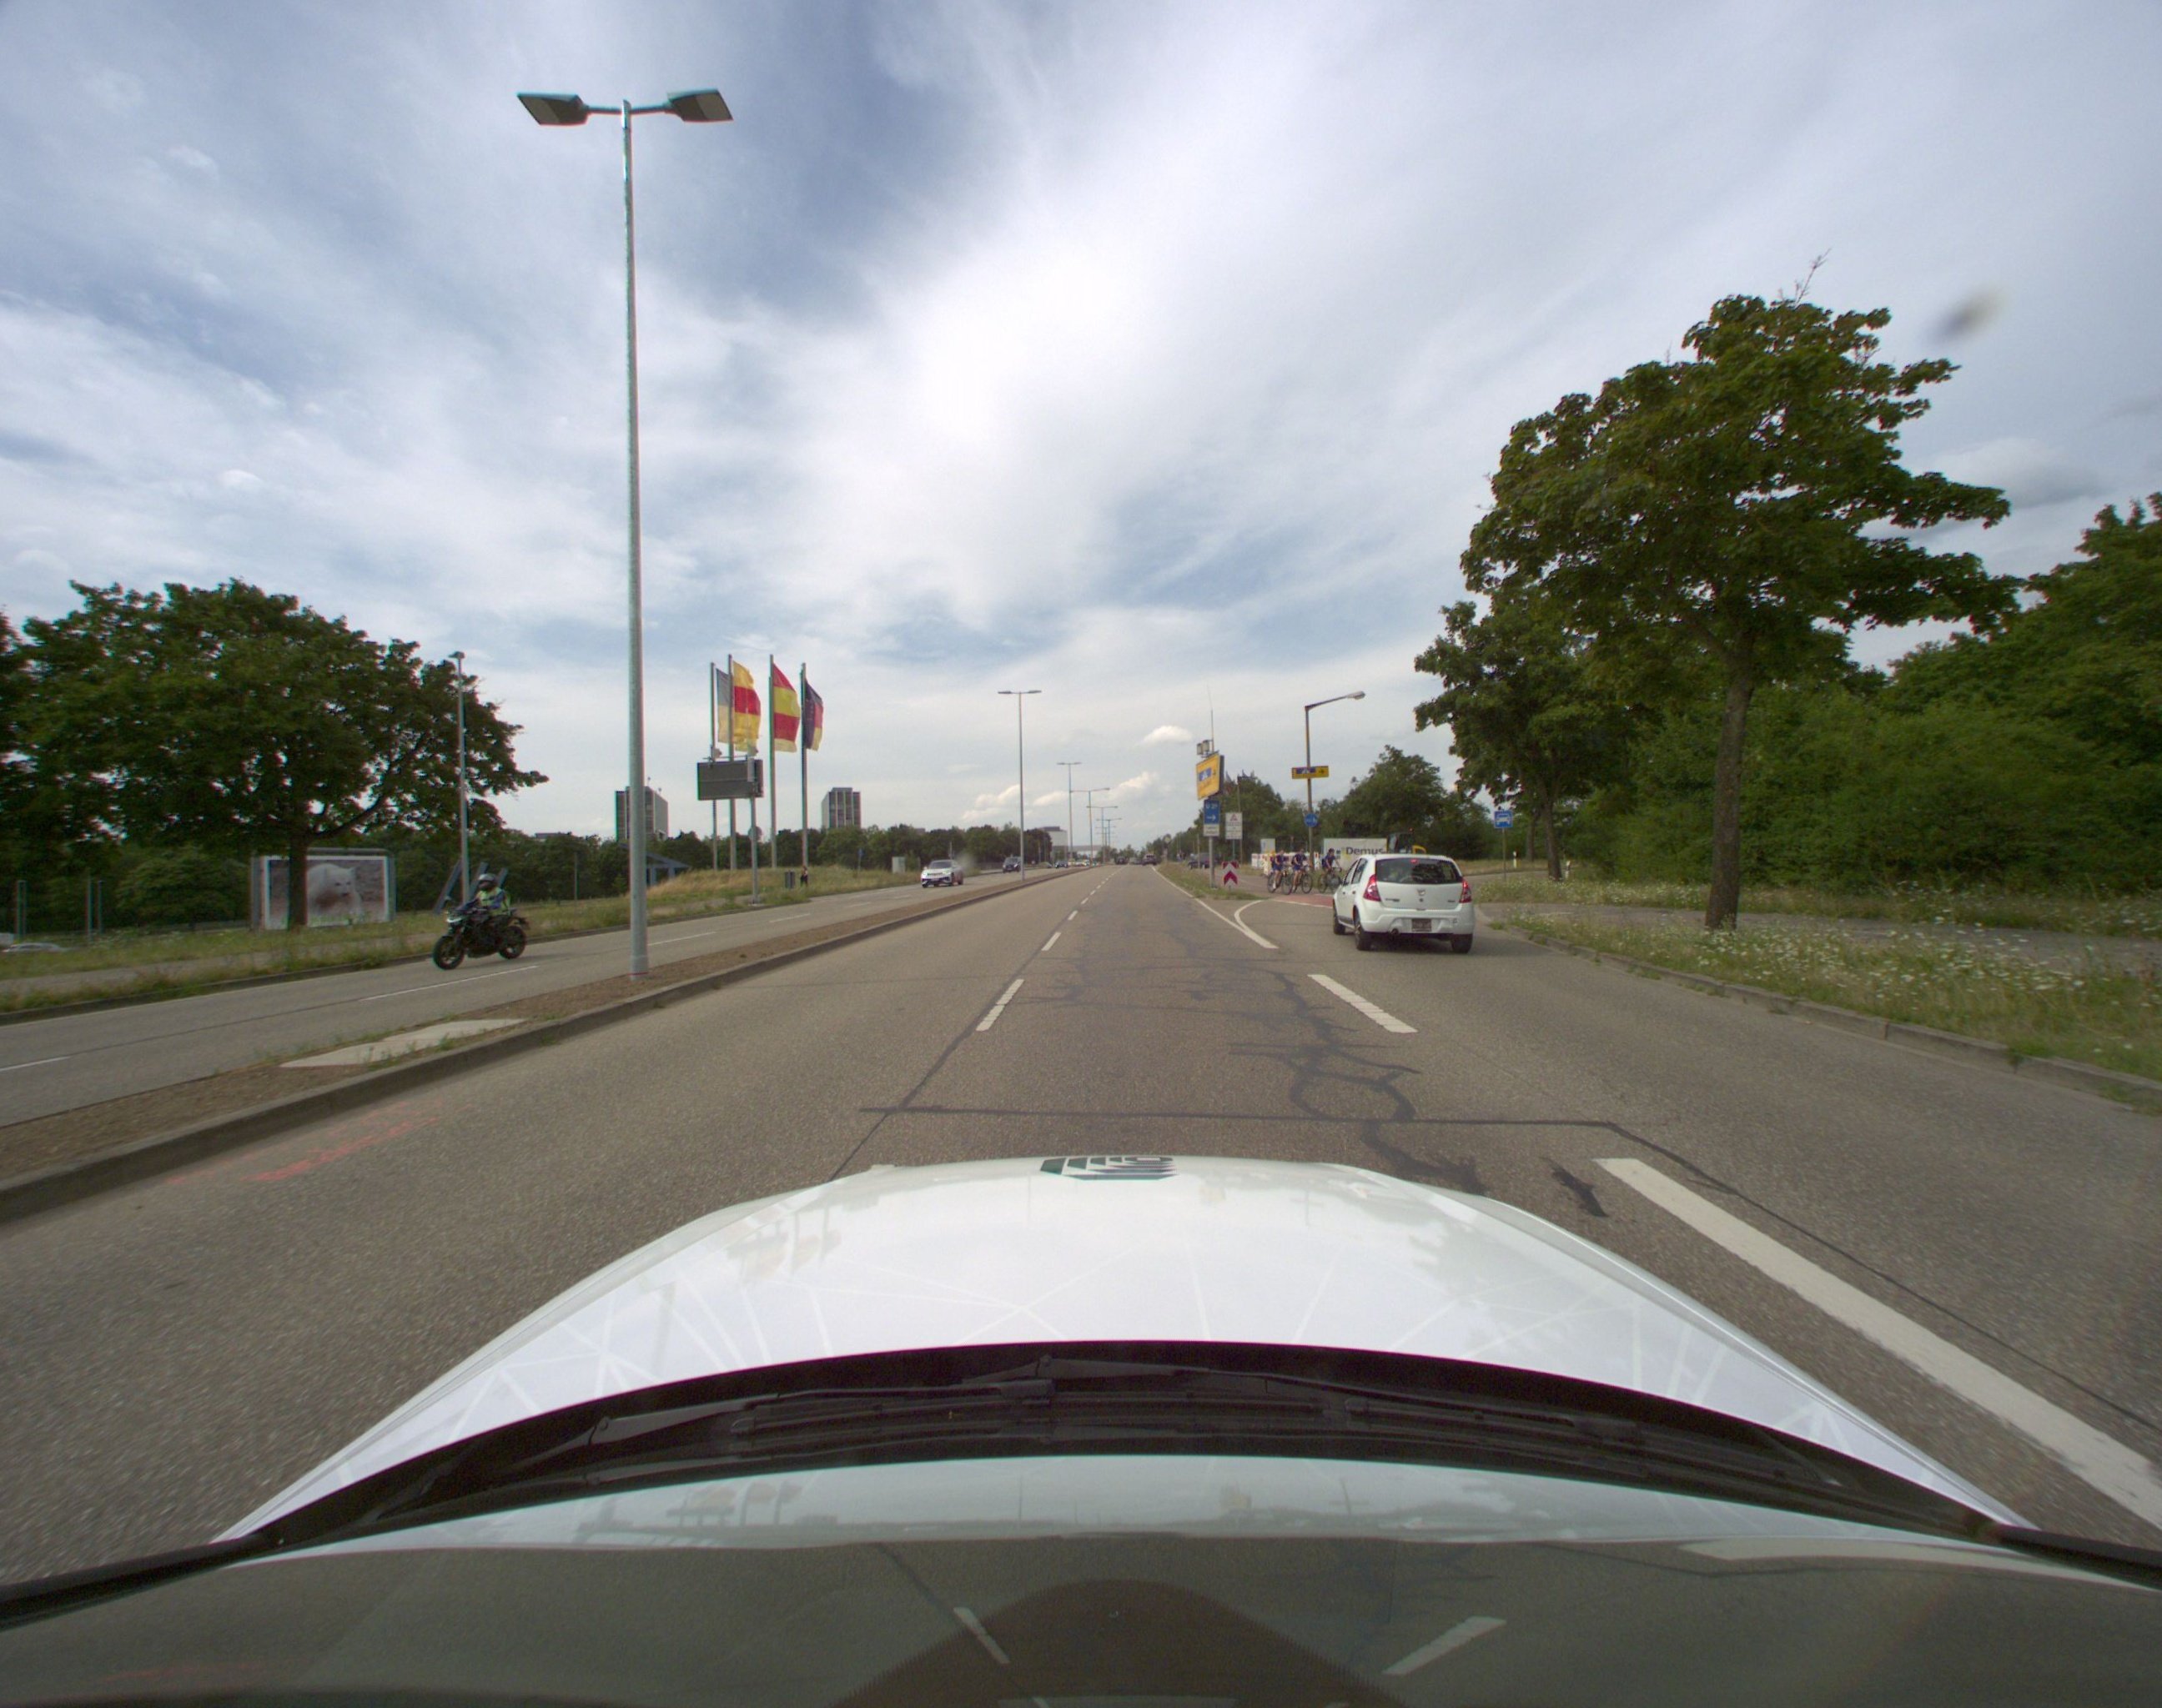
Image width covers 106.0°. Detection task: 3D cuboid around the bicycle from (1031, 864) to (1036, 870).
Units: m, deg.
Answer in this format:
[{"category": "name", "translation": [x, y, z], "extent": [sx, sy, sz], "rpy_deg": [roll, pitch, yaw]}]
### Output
[{"category": "bicycle", "translation": [-9.521, 2.607, 163.333], "extent": [0.703, 1.050, 2.061], "rpy_deg": [-1, -1, 3]}]

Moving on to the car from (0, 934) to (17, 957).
[{"category": "car", "translation": [-123.609, 10.403, 90.848], "extent": [5.850, 2.379, 1.978], "rpy_deg": [-2, -1, -18]}]

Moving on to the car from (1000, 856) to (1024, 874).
[{"category": "car", "translation": [-8.340, 1.288, 98.343], "extent": [1.838, 1.893, 5.512], "rpy_deg": [-5, -1, 5]}]

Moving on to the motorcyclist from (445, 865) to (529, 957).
[{"category": "motorcyclist", "translation": [-10.804, 1.011, 14.846], "extent": [0.767, 1.588, 0.896], "rpy_deg": [-3, 0, 2]}]

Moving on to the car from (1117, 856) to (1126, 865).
[{"category": "car", "translation": [7.935, 1.272, 159.724], "extent": [1.723, 1.653, 4.119], "rpy_deg": [-1, -2, 4]}]

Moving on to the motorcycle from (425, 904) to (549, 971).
[{"category": "motorcycle", "translation": [-10.677, 1.465, 14.753], "extent": [0.520, 0.967, 2.221], "rpy_deg": [-2, 0, 2]}]

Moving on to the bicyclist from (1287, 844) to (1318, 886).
[{"category": "bicyclist", "translation": [8.172, 0.423, 30.132], "extent": [0.741, 1.518, 0.954], "rpy_deg": [0, -1, -12]}]

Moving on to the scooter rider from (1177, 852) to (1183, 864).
[{"category": "scooter rider", "translation": [14.027, 0.634, 115.474], "extent": [0.586, 1.690, 0.742], "rpy_deg": [-1, -1, -5]}]

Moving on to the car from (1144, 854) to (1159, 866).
[{"category": "car", "translation": [10.037, 0.857, 116.860], "extent": [1.725, 1.653, 4.112], "rpy_deg": [-1, -2, -1]}]

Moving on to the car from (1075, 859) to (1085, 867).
[{"category": "car", "translation": [-0.207, 1.943, 171.490], "extent": [1.641, 1.515, 4.024], "rpy_deg": [-4, 0, 7]}]

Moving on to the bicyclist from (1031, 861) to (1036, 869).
[{"category": "bicyclist", "translation": [-9.549, 2.194, 163.325], "extent": [0.792, 1.626, 0.976], "rpy_deg": [-1, -1, 1]}]

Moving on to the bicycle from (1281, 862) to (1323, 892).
[{"category": "bicycle", "translation": [8.080, 0.838, 29.900], "extent": [0.595, 1.037, 2.187], "rpy_deg": [1, -1, -10]}]

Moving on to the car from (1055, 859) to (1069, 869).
[{"category": "car", "translation": [-3.019, 1.525, 129.878], "extent": [1.756, 1.441, 4.181], "rpy_deg": [-4, 0, 4]}]

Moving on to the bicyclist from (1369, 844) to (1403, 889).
[{"category": "bicyclist", "translation": [10.186, 0.421, 27.229], "extent": [0.740, 1.474, 0.803], "rpy_deg": [0, -1, -10]}]

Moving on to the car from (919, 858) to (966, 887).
[{"category": "car", "translation": [-8.494, 1.091, 50.196], "extent": [1.840, 1.601, 4.564], "rpy_deg": [-3, 0, 3]}]

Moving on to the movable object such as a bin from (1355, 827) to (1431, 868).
[{"category": "movable object such as a bin", "translation": [21.443, -0.421, 56.102], "extent": [4.476, 2.689, 2.106], "rpy_deg": [-1, -1, 8]}]

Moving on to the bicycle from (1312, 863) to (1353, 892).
[{"category": "bicycle", "translation": [9.242, 0.857, 29.974], "extent": [0.620, 1.006, 1.781], "rpy_deg": [-4, -1, -11]}]

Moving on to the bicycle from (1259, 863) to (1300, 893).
[{"category": "bicycle", "translation": [7.145, 0.851, 29.439], "extent": [0.620, 1.006, 2.095], "rpy_deg": [1, 0, -10]}]

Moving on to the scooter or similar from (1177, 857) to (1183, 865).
[{"category": "scooter or similar", "translation": [14.040, 1.009, 115.483], "extent": [0.587, 1.224, 1.201], "rpy_deg": [-1, -1, -4]}]

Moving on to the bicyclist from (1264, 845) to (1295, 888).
[{"category": "bicyclist", "translation": [7.164, 0.453, 29.470], "extent": [0.741, 1.518, 0.954], "rpy_deg": [0, -1, -11]}]

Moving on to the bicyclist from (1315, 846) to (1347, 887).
[{"category": "bicyclist", "translation": [9.229, 0.475, 30.113], "extent": [0.741, 1.487, 0.954], "rpy_deg": [0, -1, -11]}]

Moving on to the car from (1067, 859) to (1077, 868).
[{"category": "car", "translation": [-1.713, 1.731, 156.082], "extent": [1.542, 1.578, 3.694], "rpy_deg": [-4, 0, 4]}]

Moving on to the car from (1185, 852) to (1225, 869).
[{"category": "car", "translation": [12.339, 0.668, 81.382], "extent": [1.742, 1.653, 4.073], "rpy_deg": [0, -2, -32]}]

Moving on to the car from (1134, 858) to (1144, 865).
[{"category": "car", "translation": [13.821, 1.810, 194.828], "extent": [1.728, 1.526, 4.107], "rpy_deg": [-1, -1, -5]}]

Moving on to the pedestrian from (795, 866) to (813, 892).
[{"category": "pedestrian", "translation": [-18.843, 1.705, 55.457], "extent": [0.862, 1.693, 0.679], "rpy_deg": [-3, 0, 2]}]

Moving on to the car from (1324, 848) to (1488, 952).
[{"category": "car", "translation": [5.350, 0.696, 13.957], "extent": [1.836, 1.502, 4.011], "rpy_deg": [0, -1, 10]}]
